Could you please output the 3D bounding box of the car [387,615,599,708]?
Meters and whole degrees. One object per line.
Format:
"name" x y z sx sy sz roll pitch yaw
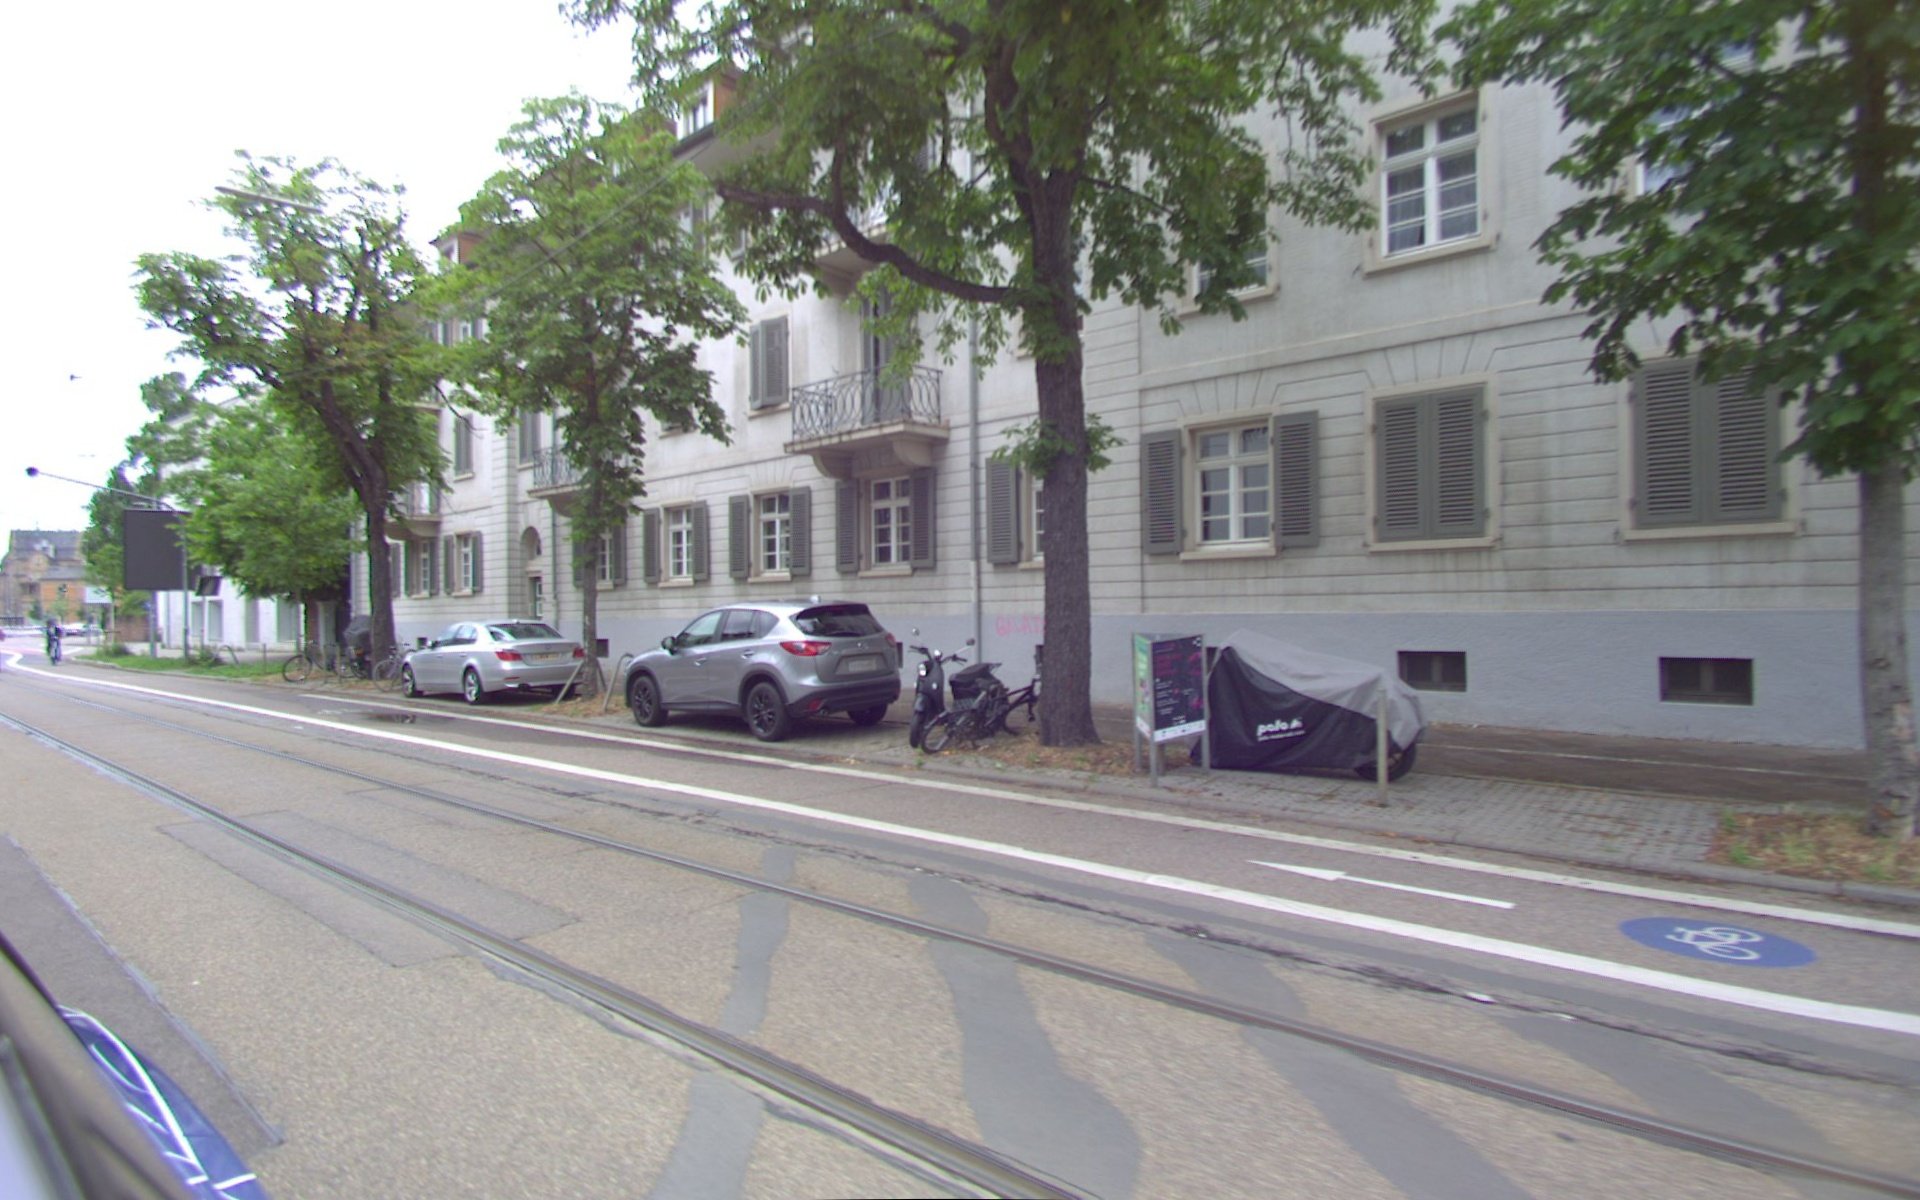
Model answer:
"car" -8.715 1.071 18.695 4.611 1.477 1.793 -2 0 41

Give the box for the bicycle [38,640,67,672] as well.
"bicycle" -35.863 2.192 39.966 0.765 1.221 1.870 0 -1 -45

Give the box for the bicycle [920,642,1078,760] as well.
"bicycle" 0.418 1.003 10.516 1.360 1.012 0.930 -4 2 -45

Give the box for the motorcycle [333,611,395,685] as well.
"motorcycle" -14.202 1.107 24.078 0.822 1.655 2.483 0 -1 -41

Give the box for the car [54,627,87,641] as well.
"car" -101.558 3.822 115.599 1.469 1.520 3.480 -1 -1 -16

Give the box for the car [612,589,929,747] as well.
"car" -2.610 0.795 13.291 4.292 1.673 1.818 -2 1 42

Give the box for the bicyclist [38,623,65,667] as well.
"bicyclist" -35.939 1.757 40.045 0.765 1.703 0.869 0 -1 -45

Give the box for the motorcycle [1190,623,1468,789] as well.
"motorcycle" 3.083 0.842 8.603 2.137 1.267 0.535 -2 -1 35

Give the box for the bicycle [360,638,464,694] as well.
"bicycle" -11.612 1.372 21.502 0.563 1.035 1.877 -2 0 37

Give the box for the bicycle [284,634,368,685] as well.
"bicycle" -15.832 1.470 25.308 1.718 1.137 0.519 -3 0 -31

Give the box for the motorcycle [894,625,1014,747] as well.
"motorcycle" -0.054 0.923 11.327 1.270 1.231 0.548 -2 0 -43
